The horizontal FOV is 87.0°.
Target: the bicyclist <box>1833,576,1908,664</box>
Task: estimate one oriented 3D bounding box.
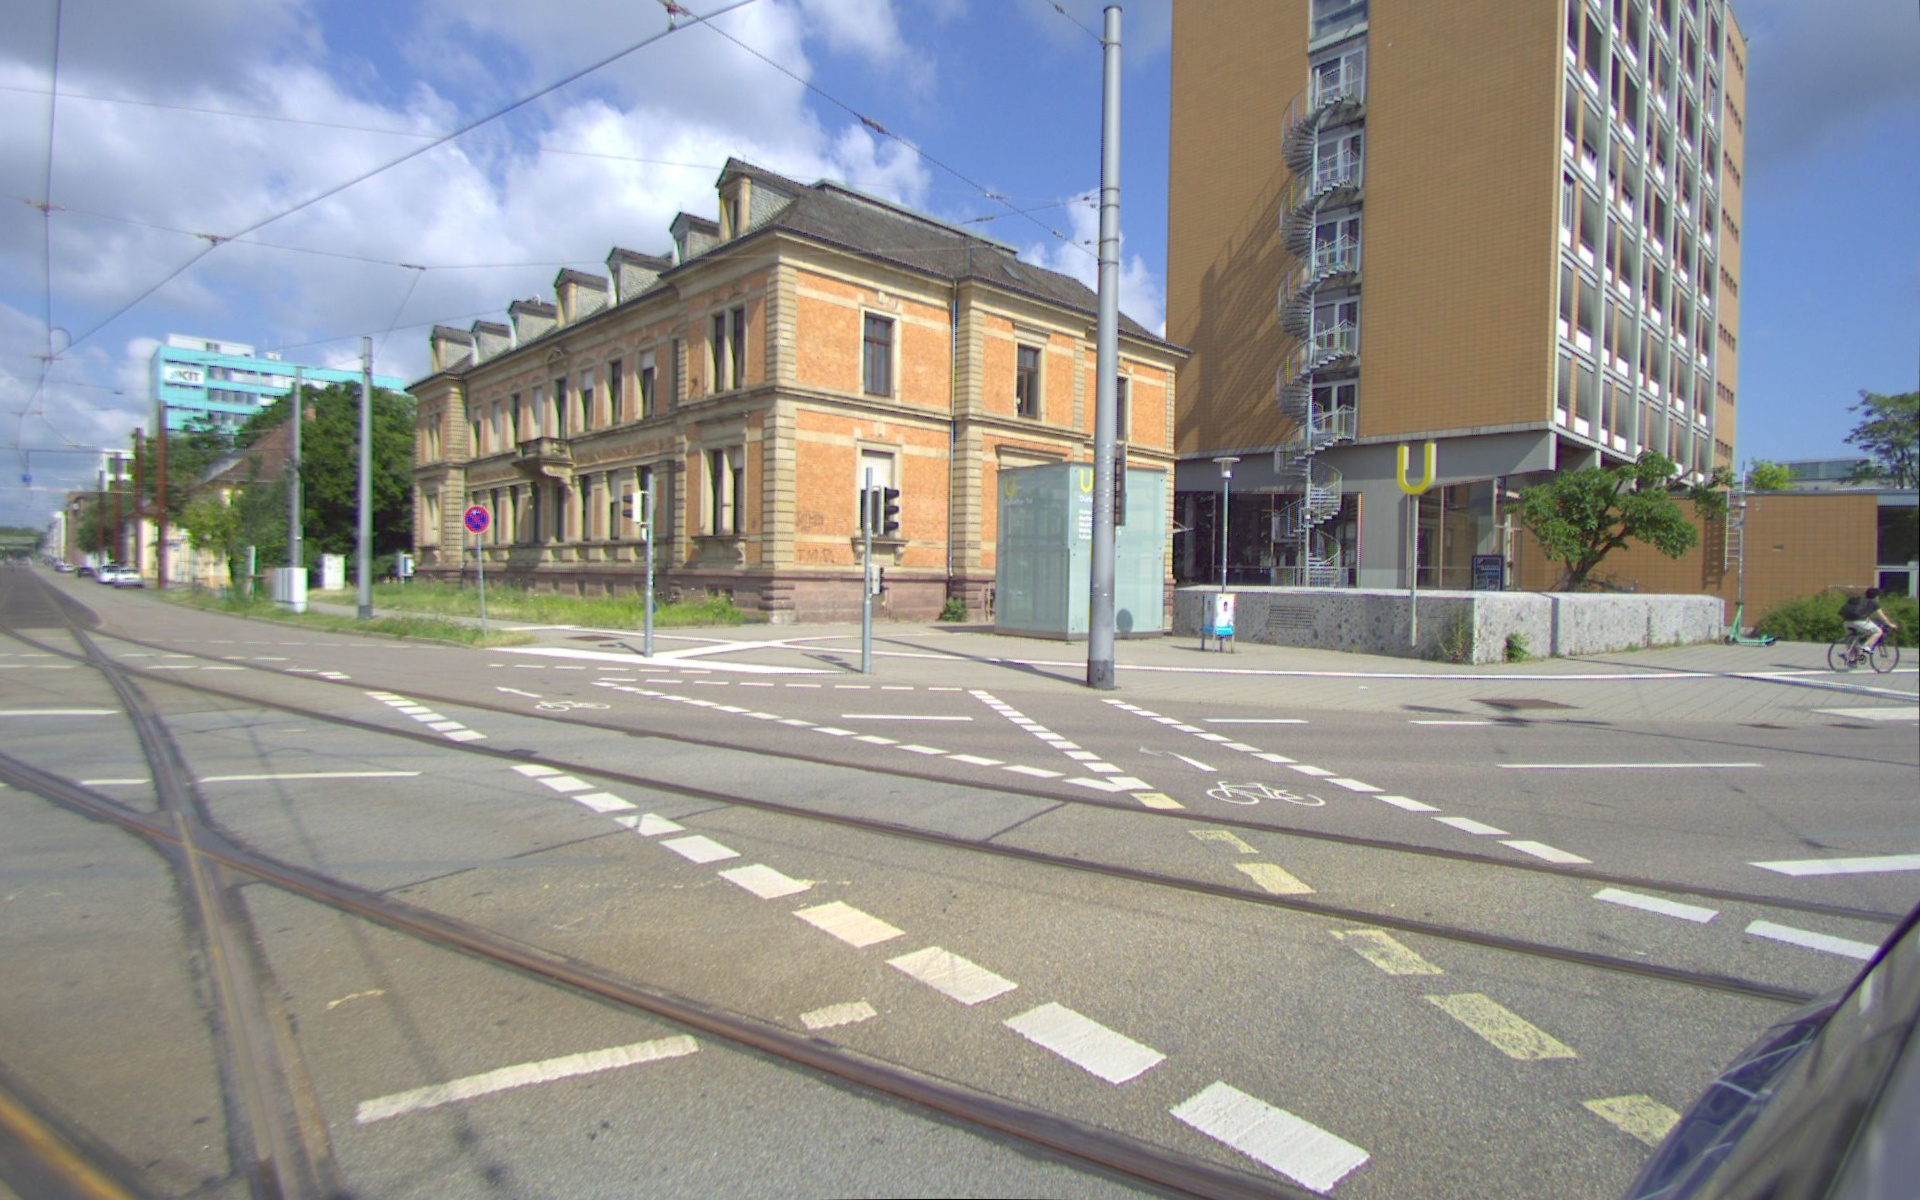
[{"bbox_3d":[18.086,0.386,20.113,0.919,1.692,0.580,1,2,-2],"label":"bicyclist"}]

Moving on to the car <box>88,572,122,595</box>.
[{"bbox_3d":[-79.117,-1.475,93.679,3.985,2.039,1.969,-1,-1,43],"label":"car"}]

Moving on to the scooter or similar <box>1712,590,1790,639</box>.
[{"bbox_3d":[21.076,0.380,27.003,1.520,1.198,0.431,3,2,23],"label":"scooter or similar"}]

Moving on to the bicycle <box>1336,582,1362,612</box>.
[{"bbox_3d":[16.398,-0.124,42.620,1.450,1.263,0.427,0,1,-45],"label":"bicycle"}]

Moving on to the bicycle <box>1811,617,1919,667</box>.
[{"bbox_3d":[18.229,0.840,20.202,1.774,0.885,0.762,1,3,-1],"label":"bicycle"}]

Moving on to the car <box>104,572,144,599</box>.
[{"bbox_3d":[-66.225,-1.145,80.169,3.985,2.039,1.969,-1,-1,43],"label":"car"}]
